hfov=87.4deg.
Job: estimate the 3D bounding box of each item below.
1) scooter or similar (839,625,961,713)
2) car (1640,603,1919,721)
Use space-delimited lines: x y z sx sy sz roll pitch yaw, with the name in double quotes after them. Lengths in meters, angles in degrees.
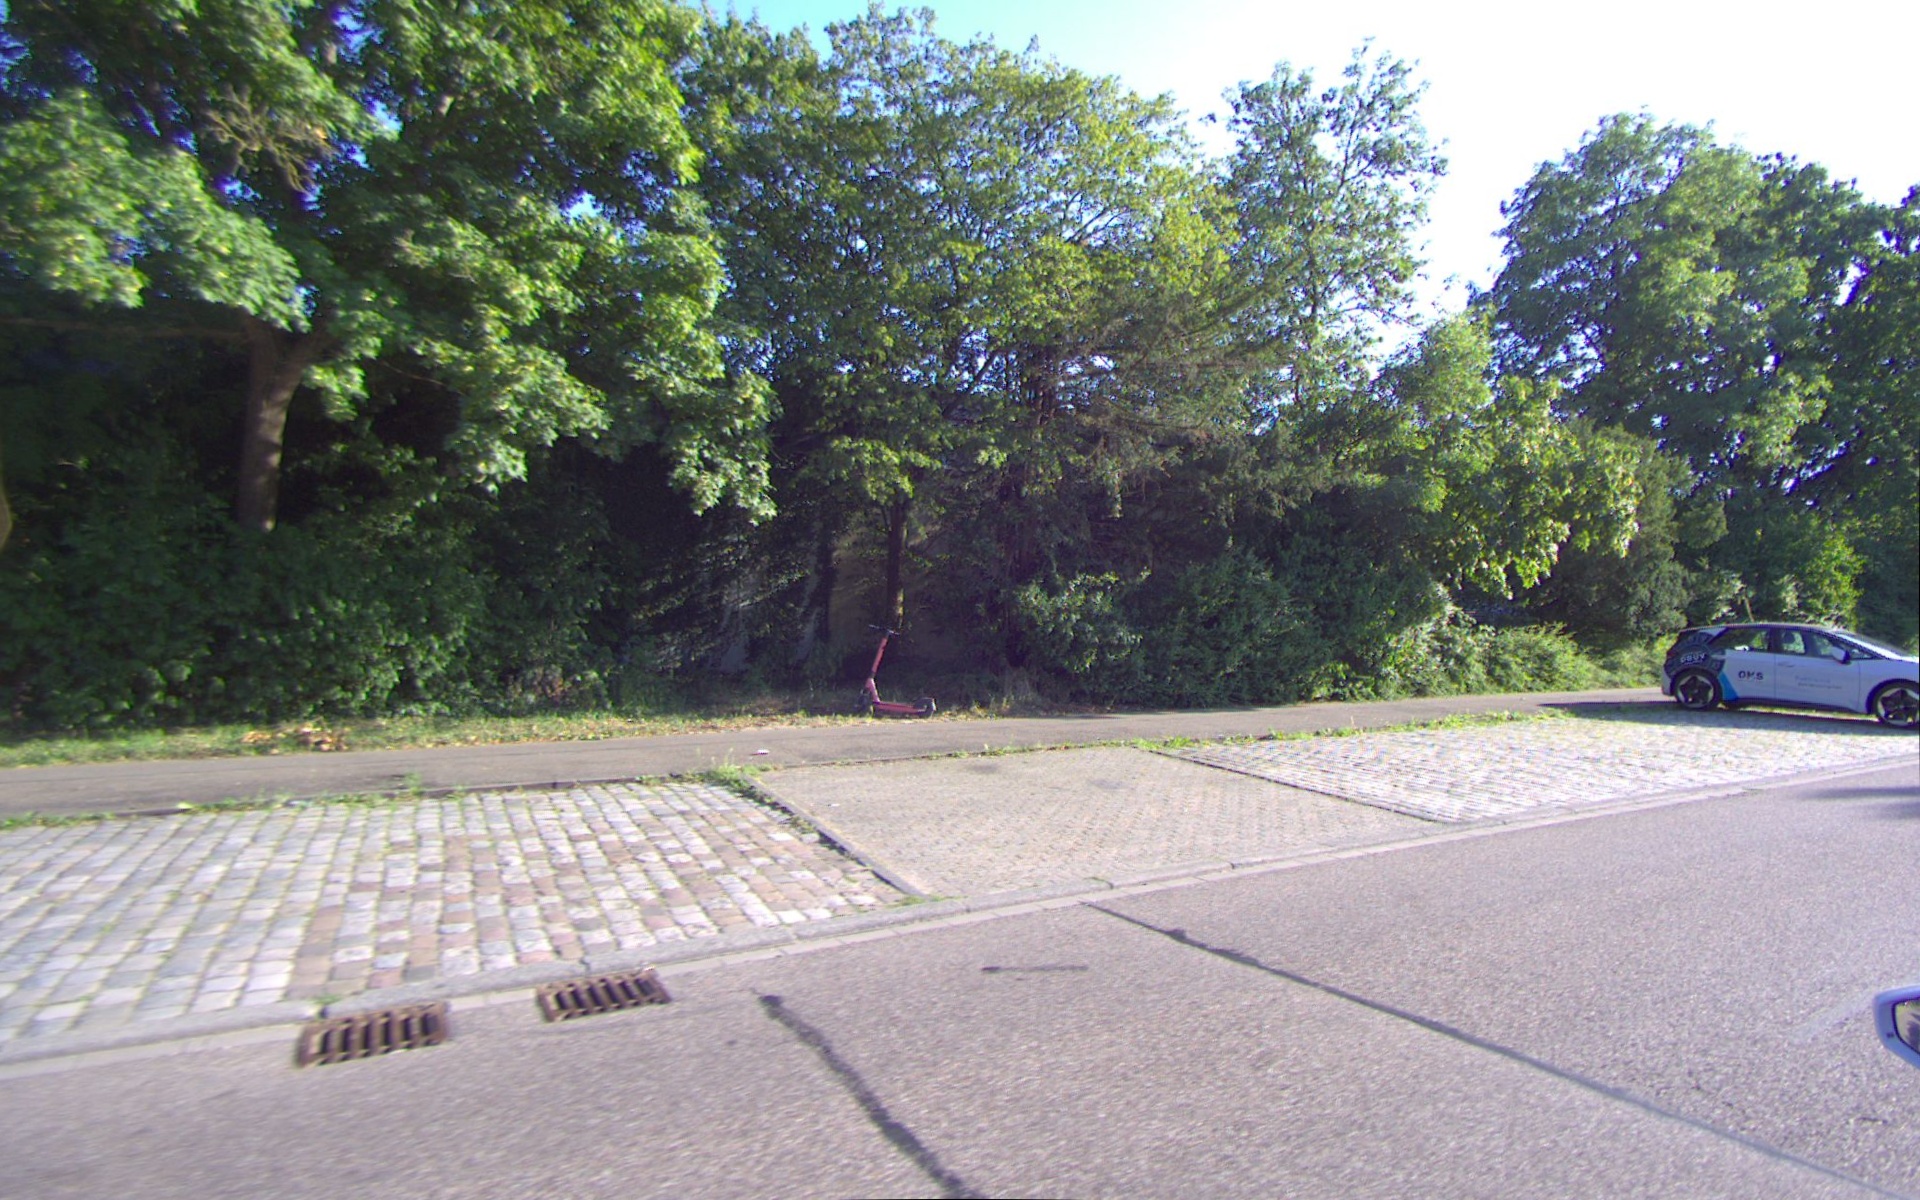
-0.809 0.920 13.665 1.552 1.160 0.577 0 -1 10 "scooter or similar"
14.170 0.938 16.670 1.975 1.568 4.339 1 2 -29 "car"
